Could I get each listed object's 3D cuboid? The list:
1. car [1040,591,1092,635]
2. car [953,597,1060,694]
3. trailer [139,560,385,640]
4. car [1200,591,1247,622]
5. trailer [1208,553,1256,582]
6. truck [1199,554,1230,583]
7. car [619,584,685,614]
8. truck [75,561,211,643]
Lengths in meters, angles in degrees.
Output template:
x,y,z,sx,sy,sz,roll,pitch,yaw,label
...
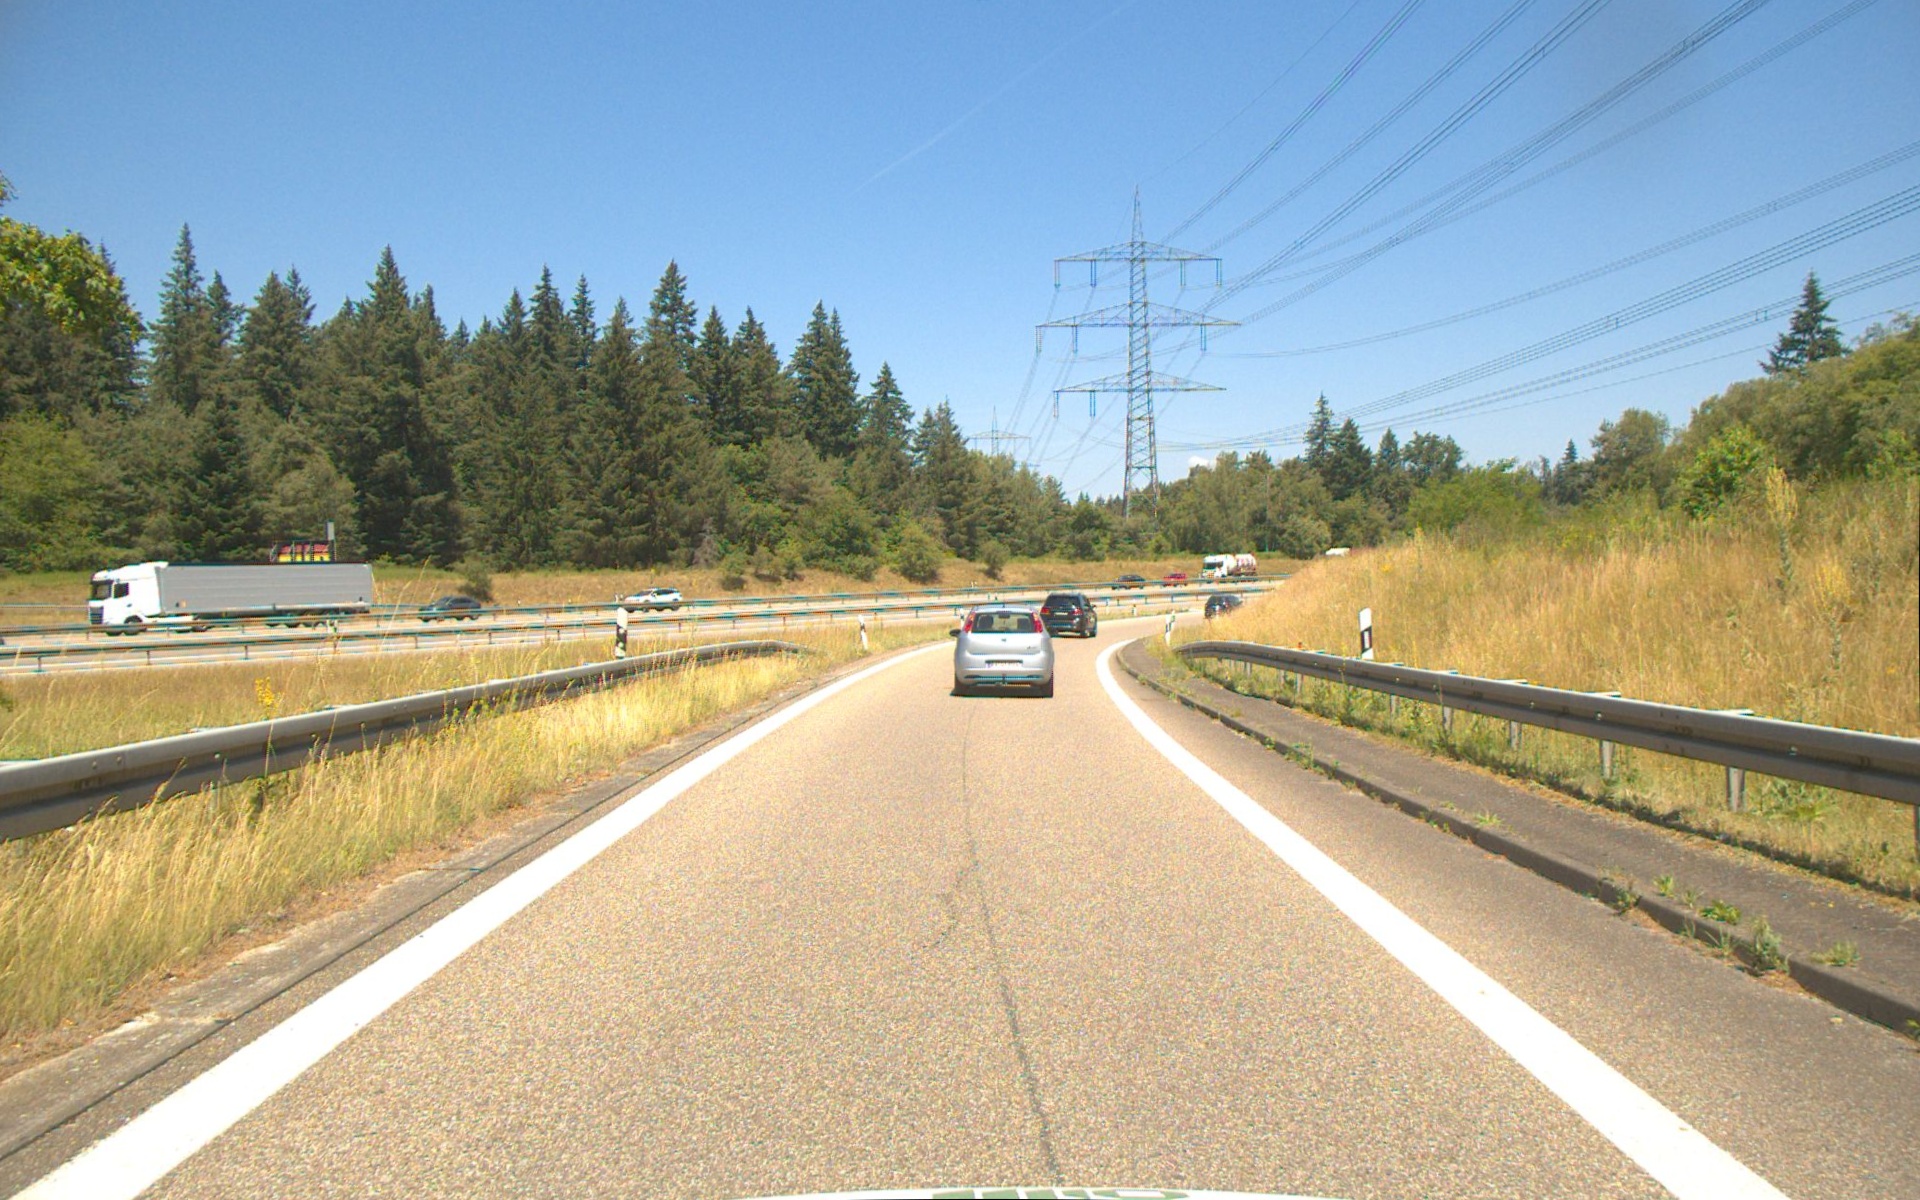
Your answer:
x,y,z,sx,sy,sz,roll,pitch,yaw,label
4.315,0.484,66.915,1.670,1.705,3.401,1,1,10,car
0.730,0.720,27.908,1.671,1.507,3.397,1,0,0,car
-42.166,-0.135,100.754,2.877,4.464,14.238,-2,0,37,trailer
16.301,0.383,102.152,1.844,1.713,3.998,-3,0,24,car
38.394,-4.632,233.123,2.728,3.863,8.898,1,3,38,trailer
35.250,-4.406,229.072,2.723,3.863,3.983,1,3,38,truck
-21.649,-0.063,116.383,1.961,1.880,4.340,0,3,38,car
-46.700,0.055,94.679,2.890,4.469,6.246,-2,0,37,truck
